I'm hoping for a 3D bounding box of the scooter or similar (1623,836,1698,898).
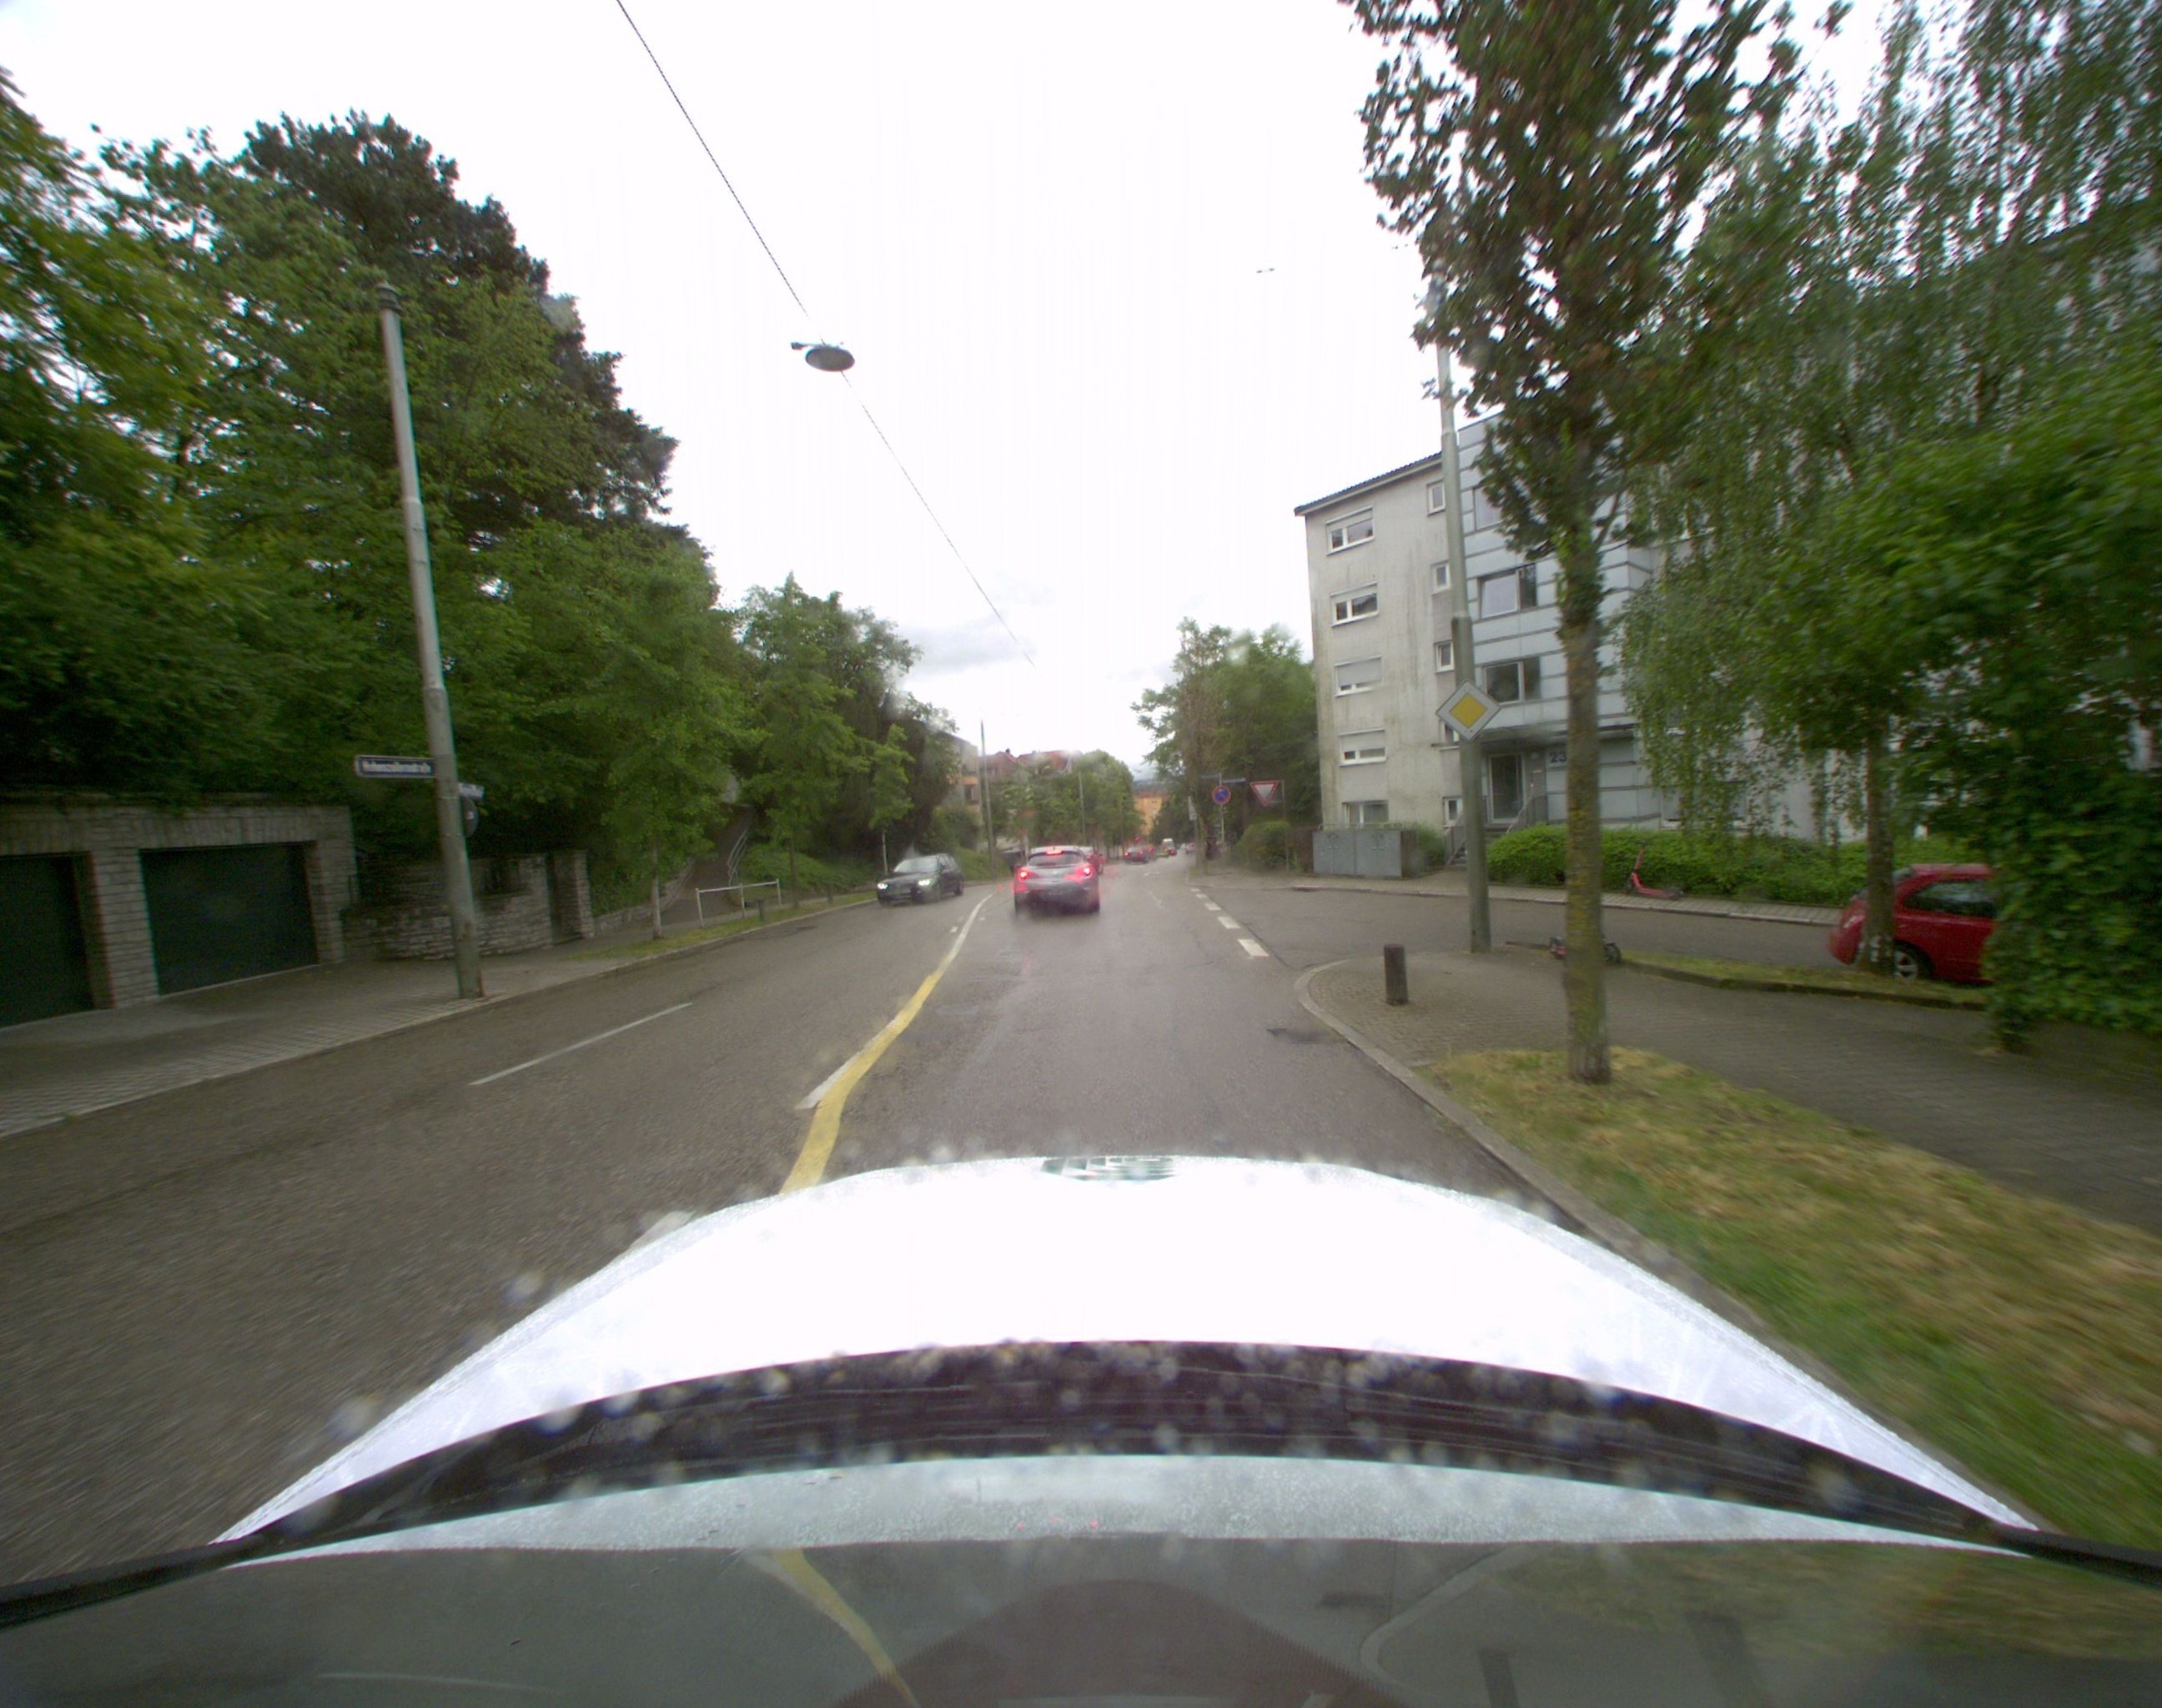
[{"bbox_3d":[12.298,0.251,17.316,0.499,1.183,1.192,-8,8,-33],"label":"scooter or similar"}]

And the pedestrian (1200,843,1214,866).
[{"bbox_3d":[9.921,0.021,64.141,0.736,1.723,0.761,-6,0,-17],"label":"pedestrian"}]

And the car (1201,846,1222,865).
[{"bbox_3d":[10.648,0.116,66.372,1.495,1.435,4.009,-5,-1,8],"label":"car"}]

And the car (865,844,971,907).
[{"bbox_3d":[-4.959,0.606,25.491,1.903,1.584,4.592,-7,-1,5],"label":"car"}]

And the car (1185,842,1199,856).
[{"bbox_3d":[17.167,-0.800,126.075,1.982,2.036,4.747,-1,1,9],"label":"car"}]

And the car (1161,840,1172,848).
[{"bbox_3d":[18.047,-2.112,171.268,1.981,1.784,4.011,-1,1,10],"label":"car"}]

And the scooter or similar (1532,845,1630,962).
[{"bbox_3d":[5.766,0.543,9.451,0.341,1.254,1.267,-1,-1,1],"label":"scooter or similar"}]

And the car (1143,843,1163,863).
[{"bbox_3d":[6.972,-0.124,78.788,1.759,1.781,3.985,-1,1,7],"label":"car"}]

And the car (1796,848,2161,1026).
[{"bbox_3d":[10.881,0.856,9.510,1.654,1.521,3.529,-4,7,-41],"label":"car"}]

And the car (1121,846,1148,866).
[{"bbox_3d":[4.452,0.139,67.175,1.950,1.472,3.959,-1,1,7],"label":"car"}]

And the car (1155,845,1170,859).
[{"bbox_3d":[10.418,-0.250,103.498,1.745,1.651,4.008,-1,0,7],"label":"car"}]

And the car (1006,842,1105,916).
[{"bbox_3d":[-0.469,0.489,18.737,1.938,1.431,3.886,-3,1,2],"label":"car"}]

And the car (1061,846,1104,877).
[{"bbox_3d":[0.129,0.324,39.463,1.790,1.323,4.004,-3,1,4],"label":"car"}]

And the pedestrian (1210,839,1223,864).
[{"bbox_3d":[10.670,-0.187,64.136,0.665,1.836,0.685,-6,0,-16],"label":"pedestrian"}]

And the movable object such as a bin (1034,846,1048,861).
[{"bbox_3d":[-3.999,-0.043,80.742,1.265,1.387,0.490,-2,0,6],"label":"movable object such as a bin"}]

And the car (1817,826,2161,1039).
[{"bbox_3d":[8.043,0.525,6.088,1.498,1.435,4.000,0,1,0],"label":"car"}]

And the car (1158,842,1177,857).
[{"bbox_3d":[12.530,-0.715,117.906,2.320,2.036,4.748,-1,1,9],"label":"car"}]
